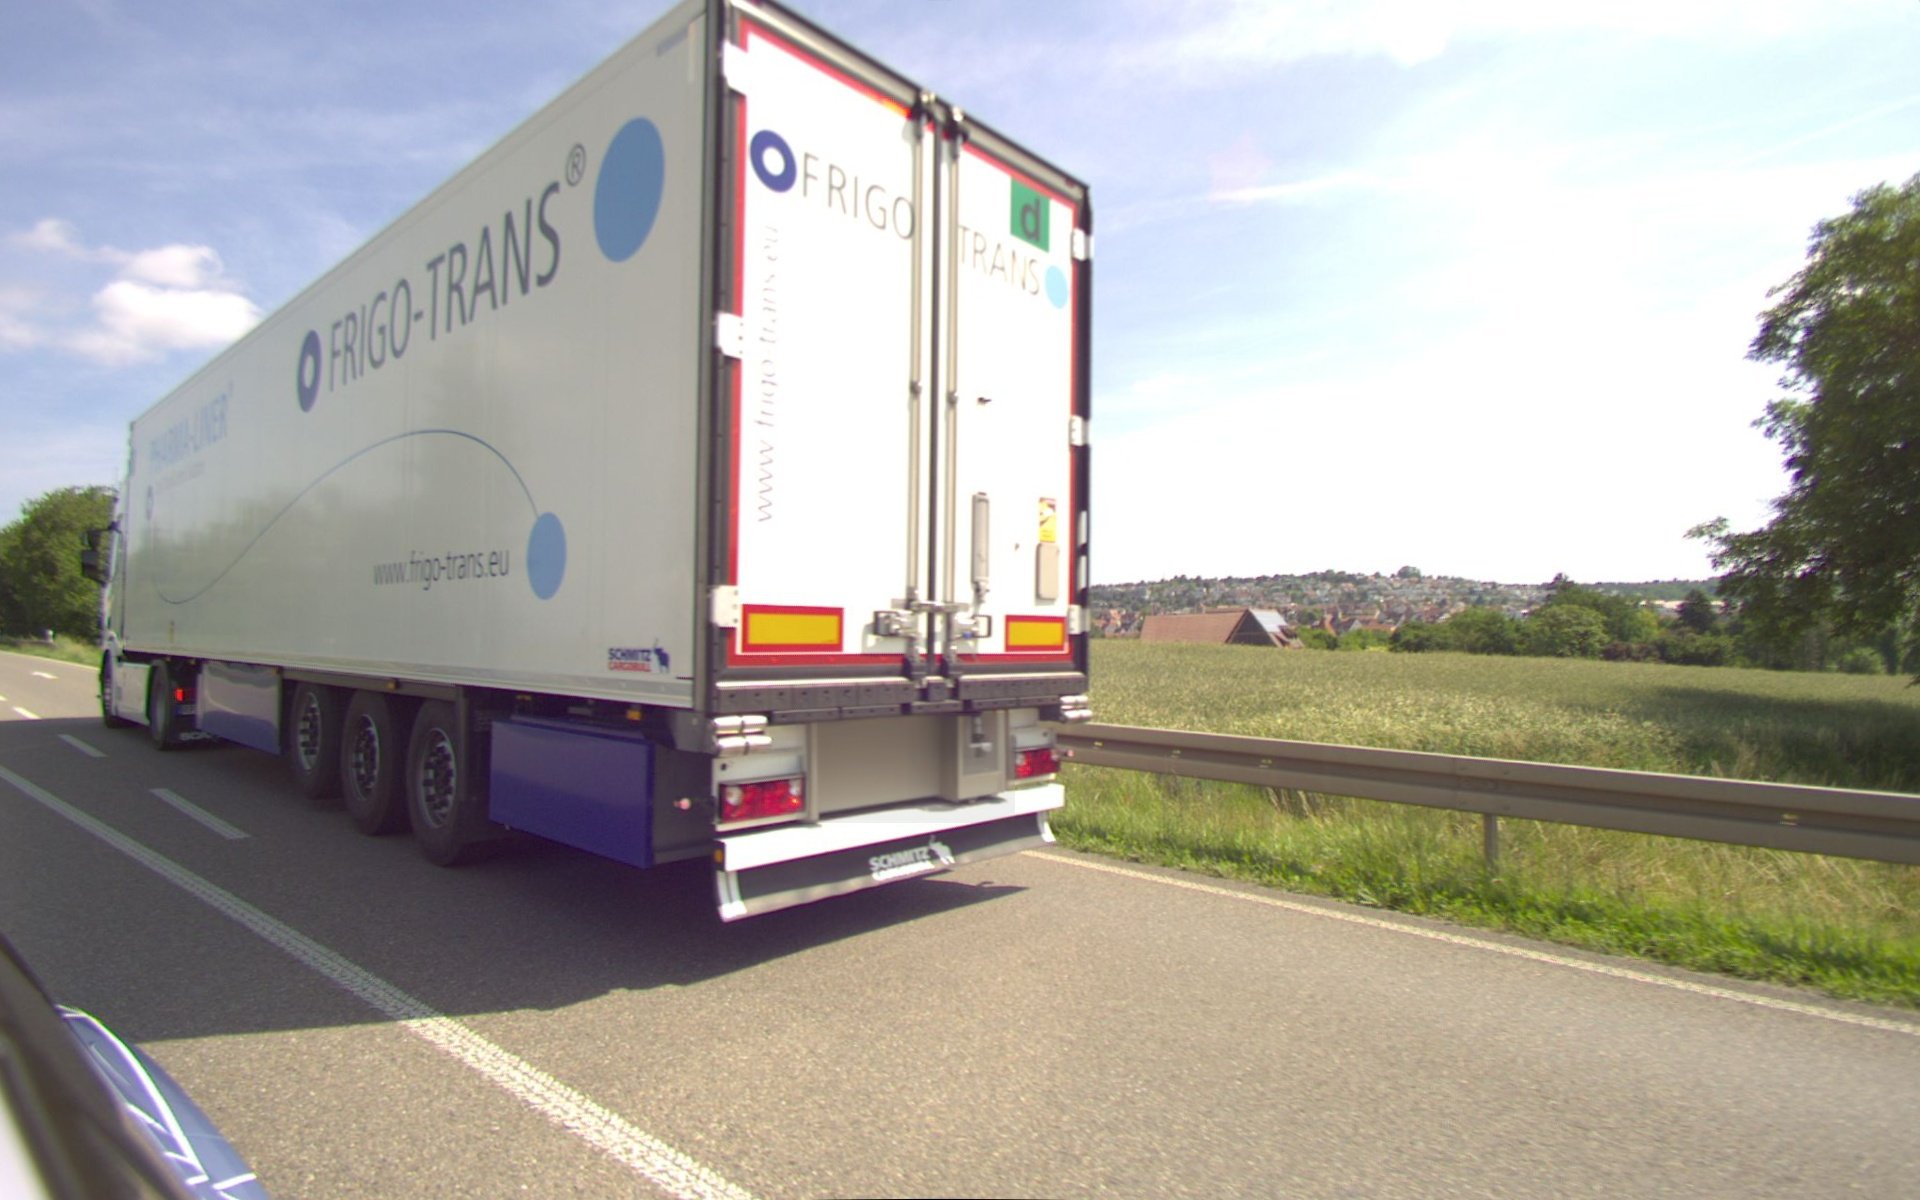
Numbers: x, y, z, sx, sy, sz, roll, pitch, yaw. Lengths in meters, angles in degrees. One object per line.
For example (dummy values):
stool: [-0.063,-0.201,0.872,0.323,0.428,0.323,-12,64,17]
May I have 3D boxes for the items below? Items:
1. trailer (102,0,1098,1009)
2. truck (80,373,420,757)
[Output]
trailer: [-5.178,-0.409,9.445,13.896,4.151,2.480,-1,-3,43]
truck: [-9.931,-0.299,13.905,6.021,4.151,2.502,-1,-3,43]
